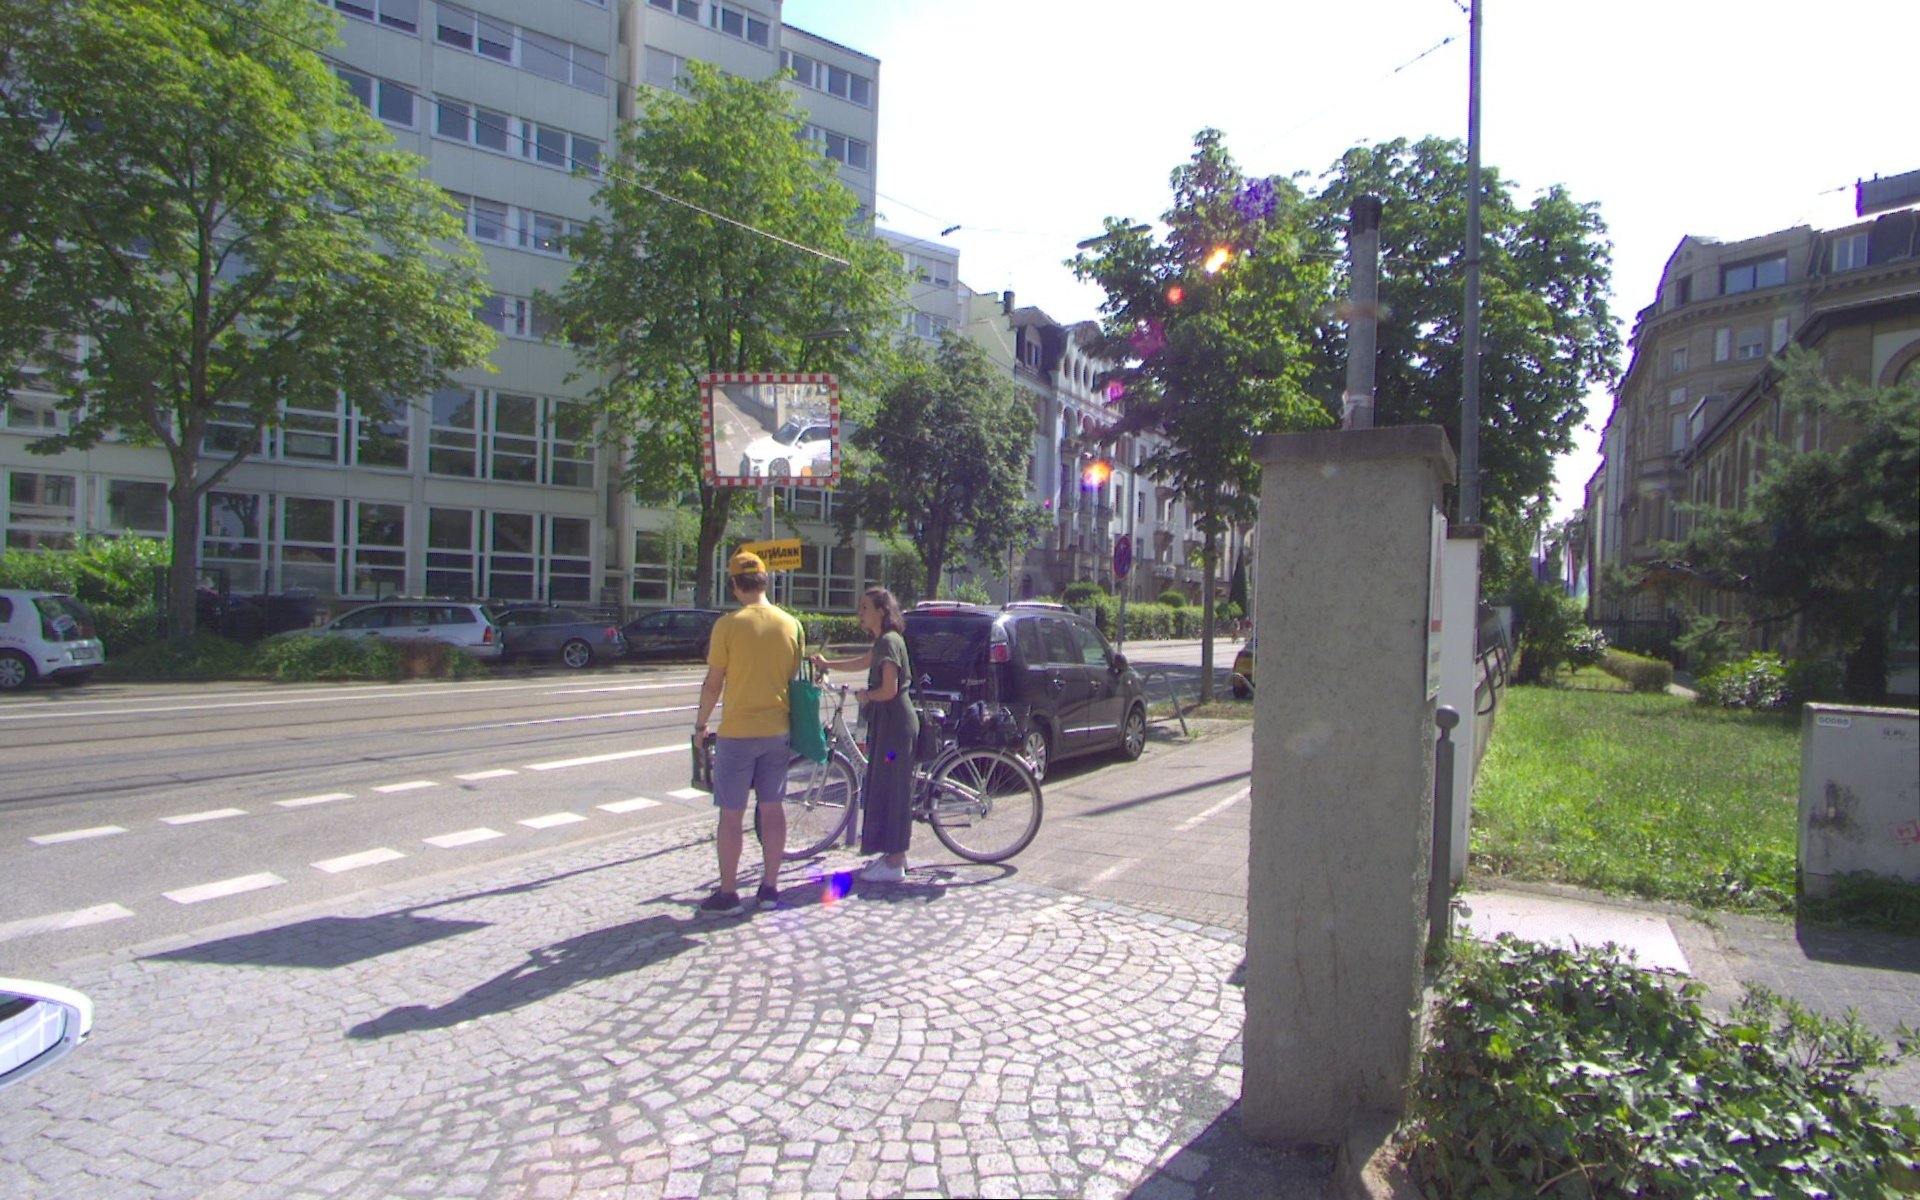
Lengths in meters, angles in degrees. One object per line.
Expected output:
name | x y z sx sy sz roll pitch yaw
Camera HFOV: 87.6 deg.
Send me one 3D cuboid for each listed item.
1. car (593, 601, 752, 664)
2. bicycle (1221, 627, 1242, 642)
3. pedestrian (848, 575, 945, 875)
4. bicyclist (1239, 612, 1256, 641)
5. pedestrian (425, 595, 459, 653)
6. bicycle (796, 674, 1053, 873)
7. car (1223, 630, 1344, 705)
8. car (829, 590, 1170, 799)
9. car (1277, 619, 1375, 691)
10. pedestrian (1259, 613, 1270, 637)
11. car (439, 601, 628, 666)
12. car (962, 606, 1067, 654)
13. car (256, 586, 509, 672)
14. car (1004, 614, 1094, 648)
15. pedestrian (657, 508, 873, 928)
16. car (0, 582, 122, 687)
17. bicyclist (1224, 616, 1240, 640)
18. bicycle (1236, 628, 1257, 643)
car | -7.548 0.858 26.455 3.875 1.505 1.556 2 0 -16
bicycle | 17.947 2.276 66.106 0.670 0.929 2.309 2 0 32
pedestrian | -0.358 0.693 5.739 0.445 1.642 0.422 -1 -1 12
bicyclist | 18.813 1.722 65.522 0.793 1.825 0.860 2 0 33
pedestrian | -13.401 0.623 25.910 0.417 1.480 0.620 2 0 27
bicycle | -0.210 1.014 6.056 1.484 1.055 0.363 2 0 12
car | 7.189 1.399 22.015 1.828 1.430 3.984 1 -1 28
car | 0.621 0.826 10.424 1.829 1.706 3.981 1 -1 31
car | 9.718 1.384 26.405 1.828 1.702 3.984 1 -1 28
pedestrian | 25.029 2.039 82.224 0.680 1.958 0.785 2 0 28
car | -9.885 0.779 23.497 3.875 1.375 1.556 2 0 -16
car | 2.298 1.272 42.546 3.935 1.884 1.993 2 0 -23
car | -11.781 0.622 20.731 4.270 1.625 1.555 2 -1 -19
car | 4.341 1.507 49.206 3.929 1.528 1.997 2 -1 -16
pedestrian | -1.007 0.547 5.067 0.841 1.889 0.826 2 0 -27
car | -15.175 0.480 14.851 3.874 1.505 1.610 1 0 -15
bicyclist | 17.937 1.832 66.029 0.793 1.563 0.860 2 0 33
bicycle | 18.794 2.305 65.699 0.670 0.929 2.309 2 0 32
